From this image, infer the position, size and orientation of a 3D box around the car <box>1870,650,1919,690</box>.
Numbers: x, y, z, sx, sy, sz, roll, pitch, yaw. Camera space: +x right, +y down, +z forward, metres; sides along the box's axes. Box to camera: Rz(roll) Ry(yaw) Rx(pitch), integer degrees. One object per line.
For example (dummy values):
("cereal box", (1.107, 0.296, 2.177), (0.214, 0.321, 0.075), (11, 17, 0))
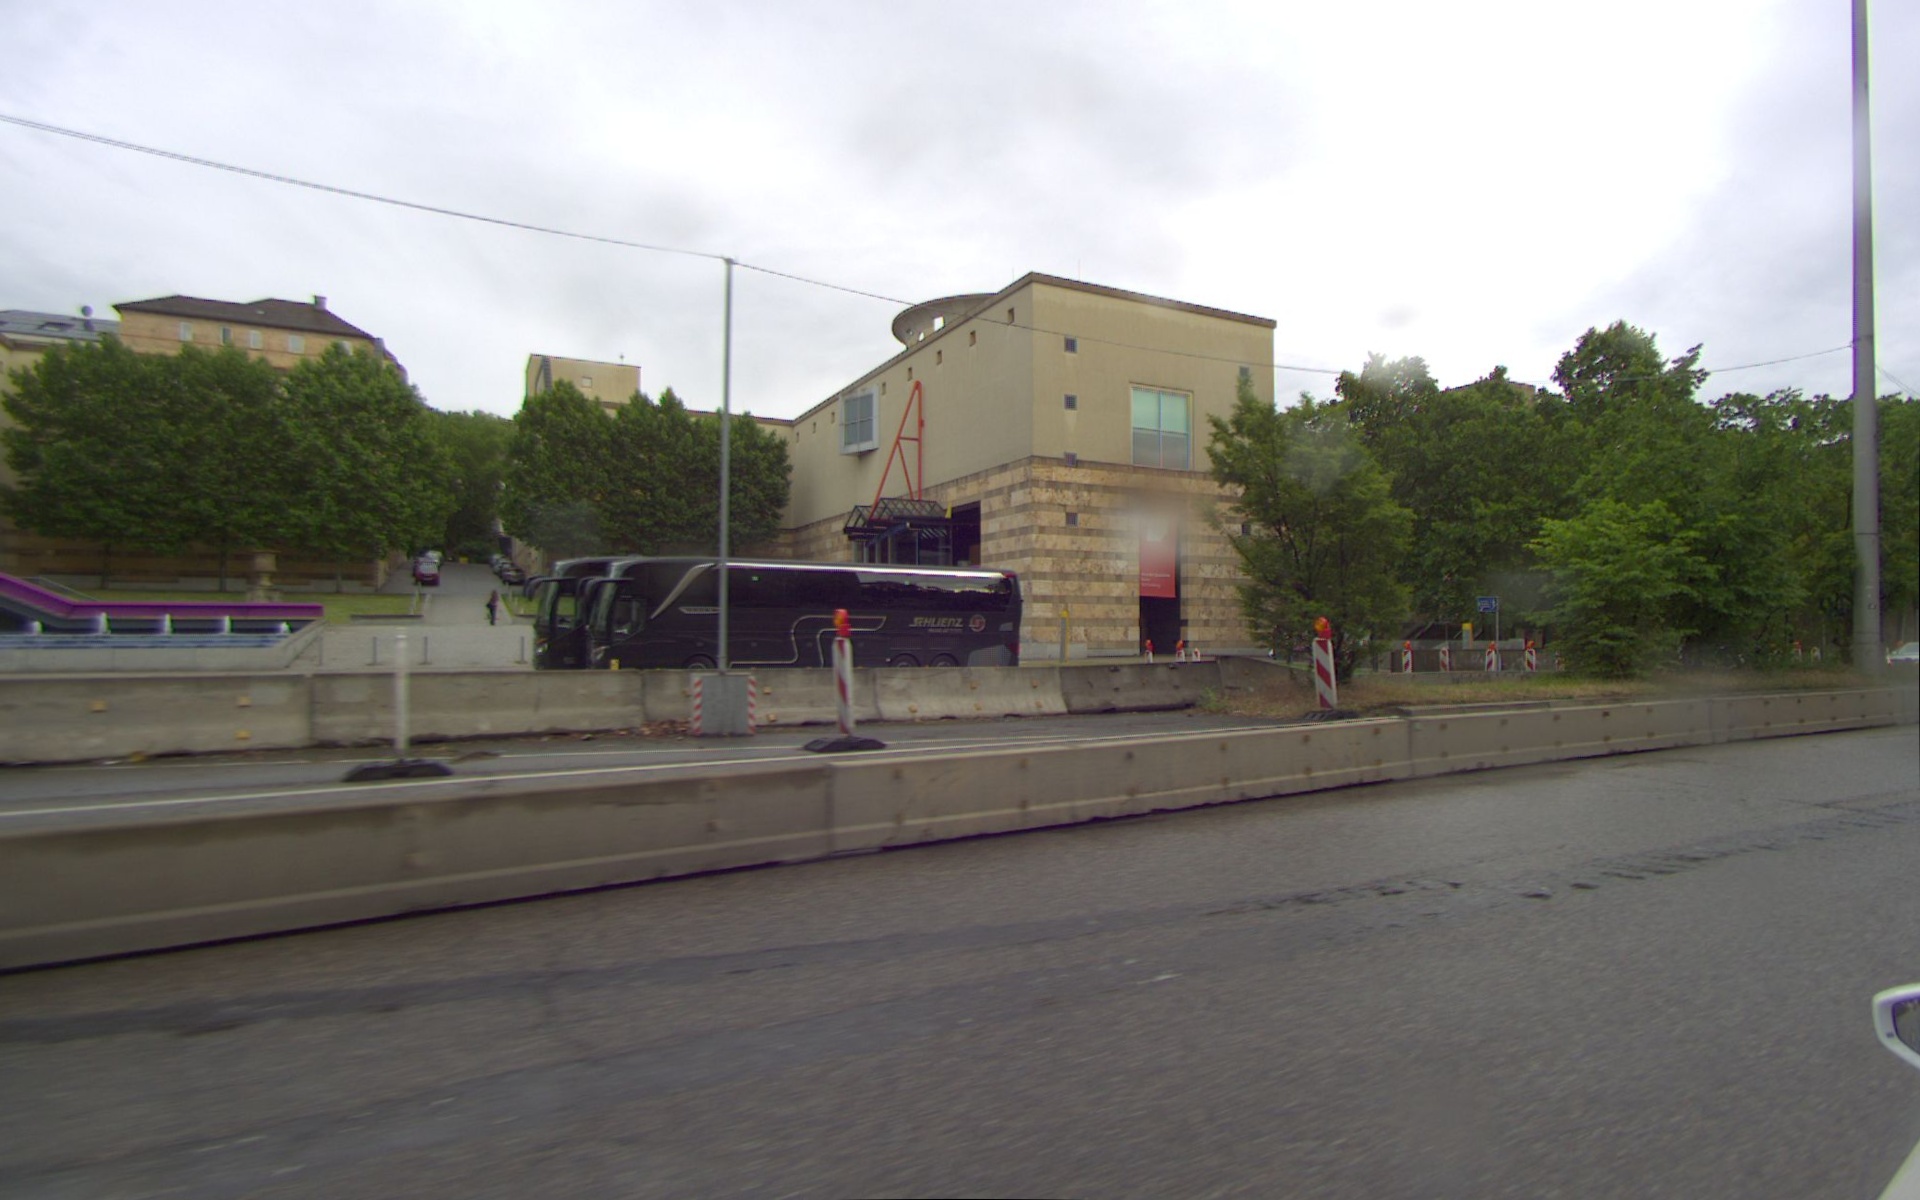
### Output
("car", (41.579, 3.012, 43.237), (4.746, 1.646, 1.987), (2, -4, -27))

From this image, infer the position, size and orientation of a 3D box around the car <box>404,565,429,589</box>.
("car", (-50.416, -2.117, 93.144), (1.792, 1.805, 3.969), (2, -4, -30))

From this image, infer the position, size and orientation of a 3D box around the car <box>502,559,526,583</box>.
("car", (-44.797, -2.868, 100.821), (1.974, 2.039, 3.975), (2, -4, -26))

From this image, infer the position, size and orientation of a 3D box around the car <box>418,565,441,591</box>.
("car", (-45.077, -1.843, 85.363), (1.680, 1.817, 3.935), (2, -4, -28))

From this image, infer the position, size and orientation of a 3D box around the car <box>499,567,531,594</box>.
("car", (-39.315, -1.713, 88.685), (1.978, 2.039, 3.966), (3, -4, -32))

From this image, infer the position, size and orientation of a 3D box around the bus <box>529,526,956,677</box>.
("bus", (-6.827, 0.172, 32.930), (13.312, 4.309, 3.109), (1, 0, -25))

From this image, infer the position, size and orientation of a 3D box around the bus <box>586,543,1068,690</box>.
("bus", (-3.636, 0.576, 30.642), (14.399, 3.862, 2.796), (1, 0, -25))

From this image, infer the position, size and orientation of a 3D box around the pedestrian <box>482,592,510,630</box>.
("pedestrian", (-21.889, 0.513, 47.389), (0.935, 1.738, 0.684), (1, -1, 12))

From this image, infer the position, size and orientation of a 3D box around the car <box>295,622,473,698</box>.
("car", (-12.296, 1.289, 21.575), (3.178, 1.519, 1.584), (2, -5, -31))
